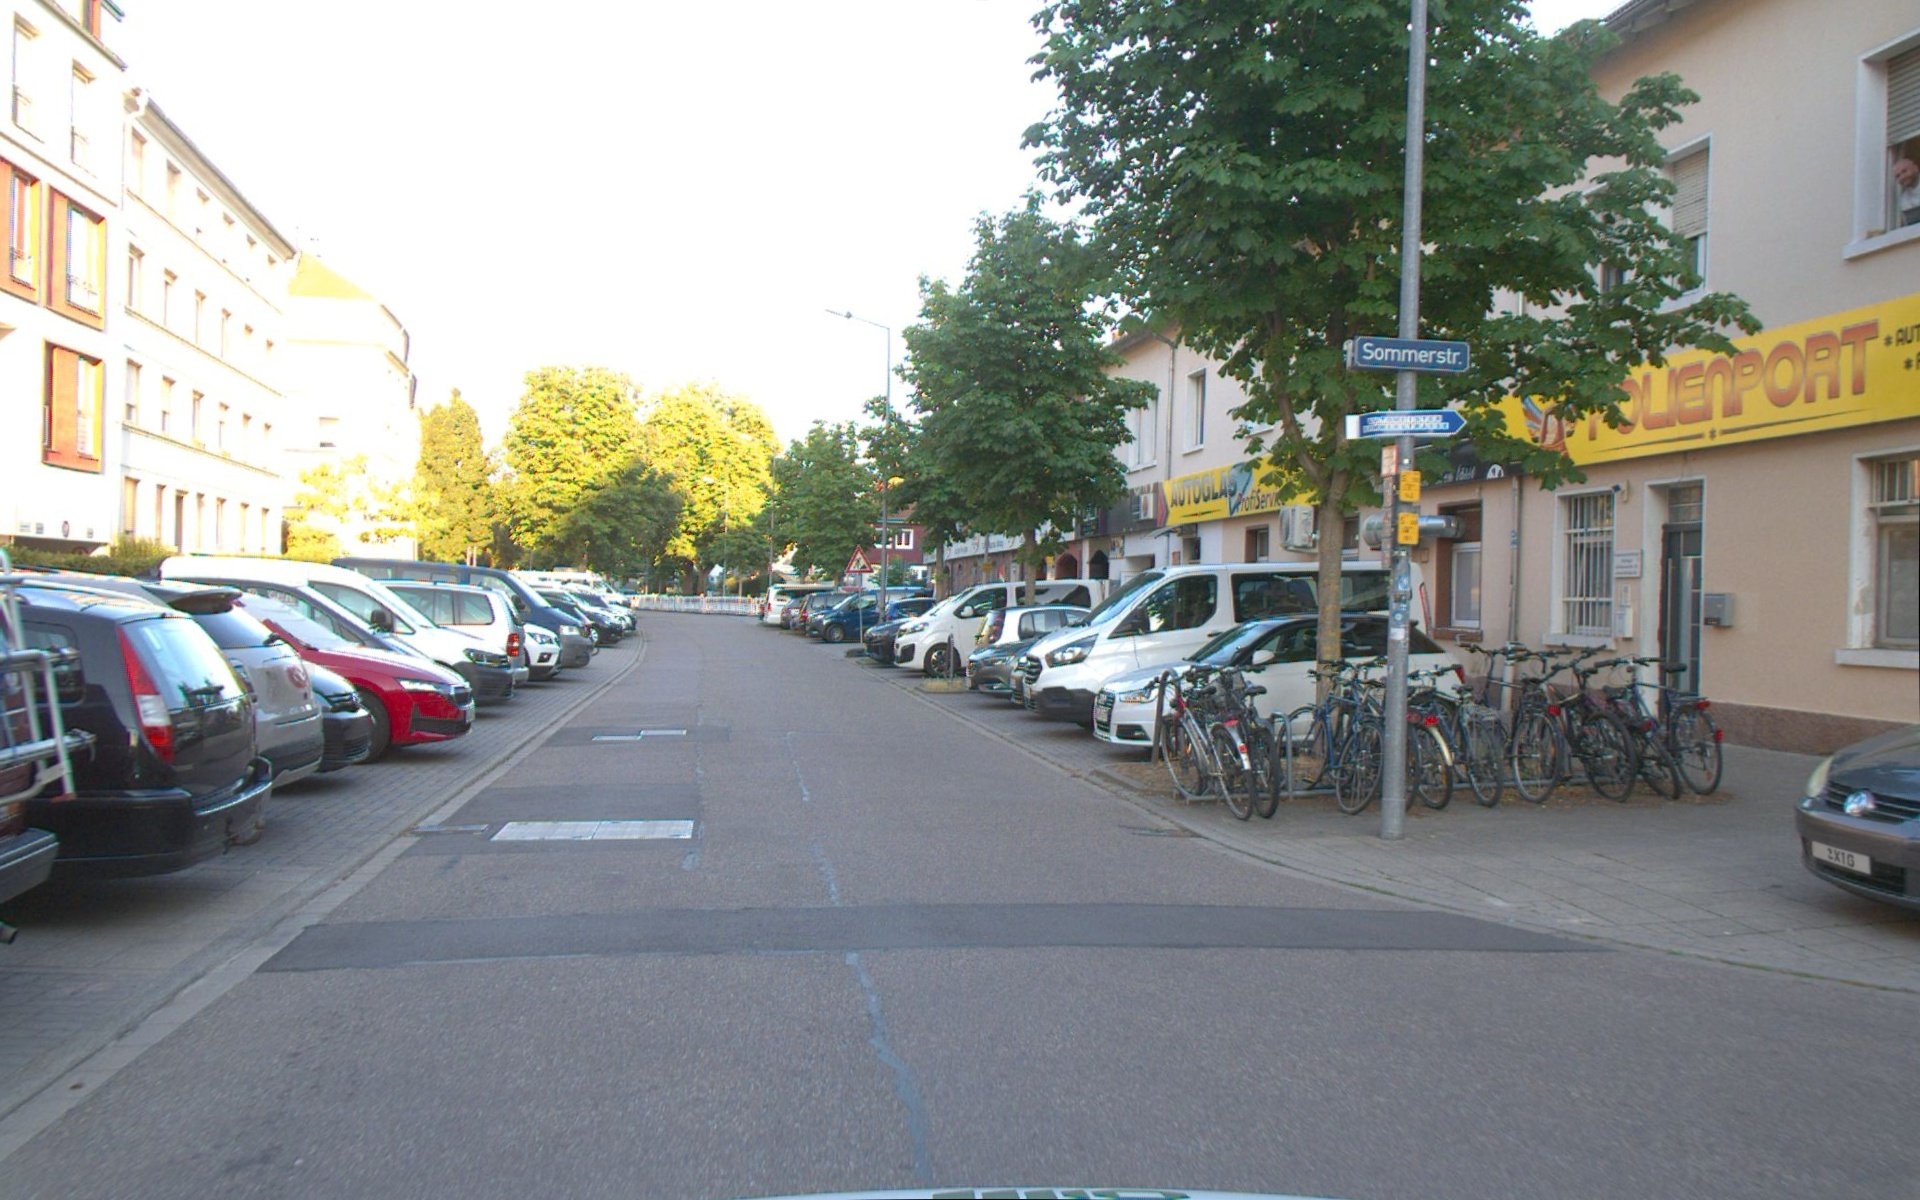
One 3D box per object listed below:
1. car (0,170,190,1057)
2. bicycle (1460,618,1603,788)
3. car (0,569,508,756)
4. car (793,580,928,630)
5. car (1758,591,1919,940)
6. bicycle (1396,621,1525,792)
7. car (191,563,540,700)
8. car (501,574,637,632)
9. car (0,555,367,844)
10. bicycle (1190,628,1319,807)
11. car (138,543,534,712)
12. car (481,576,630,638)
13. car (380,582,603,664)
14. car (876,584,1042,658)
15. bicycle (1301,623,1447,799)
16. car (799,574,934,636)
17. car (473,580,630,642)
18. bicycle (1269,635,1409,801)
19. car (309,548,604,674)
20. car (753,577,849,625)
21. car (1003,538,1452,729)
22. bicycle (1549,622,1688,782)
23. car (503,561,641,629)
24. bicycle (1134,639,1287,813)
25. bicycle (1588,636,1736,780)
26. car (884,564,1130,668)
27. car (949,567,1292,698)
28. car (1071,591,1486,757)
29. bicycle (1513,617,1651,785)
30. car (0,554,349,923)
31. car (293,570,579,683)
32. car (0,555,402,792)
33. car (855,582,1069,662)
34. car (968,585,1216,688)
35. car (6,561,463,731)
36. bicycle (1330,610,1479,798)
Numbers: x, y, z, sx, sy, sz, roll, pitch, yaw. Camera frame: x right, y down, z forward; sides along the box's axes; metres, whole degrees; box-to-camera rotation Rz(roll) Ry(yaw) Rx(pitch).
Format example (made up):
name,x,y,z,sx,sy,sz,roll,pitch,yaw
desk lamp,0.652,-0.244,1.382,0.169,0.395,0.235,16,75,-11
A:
name,x,y,z,sx,sy,sz,roll,pitch,yaw
car,-5.085,-0.010,5.089,4.425,2.629,1.997,2,0,-7
bicycle,4.460,0.773,12.999,0.436,1.221,1.479,-1,0,-8
car,-6.434,0.548,15.194,4.130,1.516,1.847,2,0,-8
car,-3.775,0.163,62.676,4.859,1.724,1.842,-2,0,-13
car,6.310,0.738,8.174,3.974,1.540,1.754,-1,2,-7
bicycle,3.895,0.798,12.950,0.378,1.221,1.479,-1,0,-8
car,-8.098,0.424,22.914,4.177,1.689,1.996,2,0,-8
car,-13.011,0.100,55.263,4.177,1.780,1.996,2,0,-8
car,-6.014,0.509,10.044,4.125,1.565,1.841,2,0,-2
bicycle,2.247,0.858,12.842,0.378,1.221,2.014,-1,0,-8
car,-7.577,0.334,20.496,4.177,1.868,1.996,2,0,-8
car,-12.302,0.210,50.553,4.177,1.744,1.996,2,0,-8
car,-9.650,0.471,34.389,4.177,1.531,1.996,2,0,-8
car,-0.053,0.545,44.740,4.238,1.835,1.807,-2,0,-10
bicycle,3.212,0.818,13.001,0.378,1.221,2.014,-1,0,-8
car,-3.225,0.155,56.963,4.402,1.945,1.682,-2,0,-13
car,-11.761,0.306,47.866,4.178,1.650,1.996,2,0,-9
bicycle,2.933,0.875,12.974,0.378,1.133,2.014,-1,1,-8
car,-8.941,0.200,29.762,4.760,2.056,1.903,2,0,-8
car,-6.939,0.020,72.155,3.900,1.945,2.042,-2,0,-13
car,3.127,0.359,19.971,4.896,2.018,2.216,-2,0,-8
bicycle,5.218,0.775,13.181,0.346,1.163,1.479,-1,0,-8
car,-13.514,-0.173,57.850,4.449,2.171,1.996,2,0,-8
bicycle,1.867,0.908,12.599,0.430,1.150,2.010,-1,1,-13
bicycle,5.606,0.834,13.283,0.380,1.035,1.479,-1,0,-8
car,0.949,0.311,34.951,4.854,1.992,2.044,-2,0,-10
car,2.382,0.456,25.238,4.851,1.772,2.046,-2,0,-8
car,3.247,0.707,17.180,3.848,1.476,1.764,-2,1,-11
bicycle,4.879,0.758,13.050,0.346,1.221,1.479,-1,0,-8
car,-5.216,0.548,7.697,4.132,1.565,1.787,2,0,-10
car,-8.521,0.418,27.246,4.177,1.681,1.884,2,0,-8
car,-6.522,0.495,12.375,4.132,1.603,1.995,2,0,-10
car,0.014,0.501,39.801,4.854,1.718,2.072,-2,0,-10
car,2.170,0.579,27.879,3.838,1.552,1.936,-2,0,-8
car,-7.713,0.484,18.017,4.132,1.644,1.995,2,0,-10
bicycle,3.465,0.761,13.046,0.378,1.327,2.014,-1,0,-8
